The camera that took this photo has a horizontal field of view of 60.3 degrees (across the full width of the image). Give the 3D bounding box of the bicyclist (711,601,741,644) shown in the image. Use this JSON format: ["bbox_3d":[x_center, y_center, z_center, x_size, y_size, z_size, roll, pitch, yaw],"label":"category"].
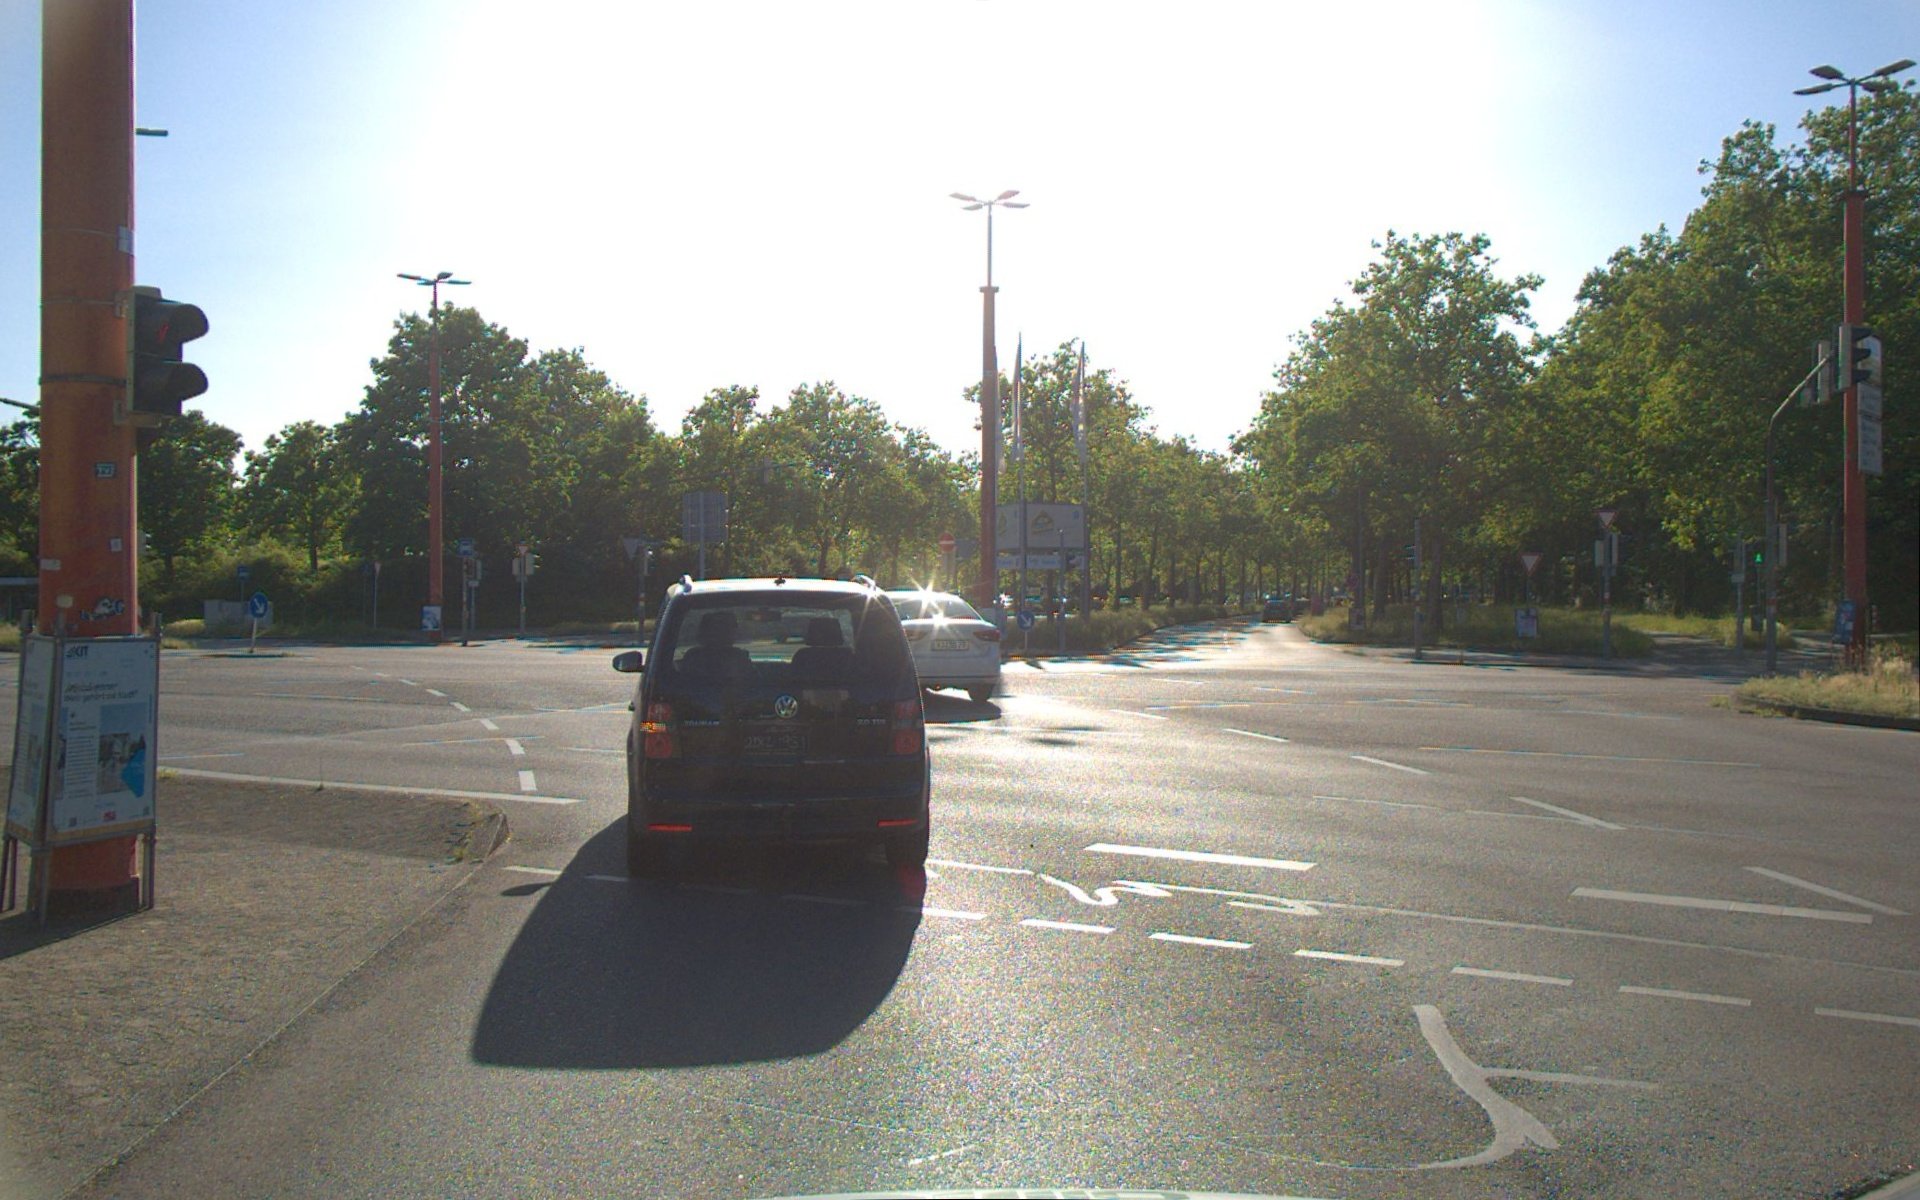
[{"bbox_3d":[-8.787,0.846,62.170,0.743,1.585,0.981,0,0,20],"label":"bicyclist"}]

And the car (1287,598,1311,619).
[{"bbox_3d":[28.957,0.740,141.211,1.832,1.655,4.003,1,-1,10],"label":"car"}]

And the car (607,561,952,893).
[{"bbox_3d":[-1.147,0.654,10.879,1.733,1.673,4.917,0,0,-6],"label":"car"}]

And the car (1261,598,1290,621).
[{"bbox_3d":[21.052,0.621,110.214,1.751,1.412,4.053,1,0,12],"label":"car"}]

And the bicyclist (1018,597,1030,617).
[{"bbox_3d":[4.646,0.505,120.067,0.719,1.462,0.966,0,-1,16],"label":"bicyclist"}]

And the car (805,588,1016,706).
[{"bbox_3d":[-0.810,0.603,23.315,1.741,1.489,4.341,1,0,-19],"label":"car"}]

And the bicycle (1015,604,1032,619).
[{"bbox_3d":[4.624,0.844,119.987,0.719,1.110,2.016,0,-1,16],"label":"bicycle"}]
